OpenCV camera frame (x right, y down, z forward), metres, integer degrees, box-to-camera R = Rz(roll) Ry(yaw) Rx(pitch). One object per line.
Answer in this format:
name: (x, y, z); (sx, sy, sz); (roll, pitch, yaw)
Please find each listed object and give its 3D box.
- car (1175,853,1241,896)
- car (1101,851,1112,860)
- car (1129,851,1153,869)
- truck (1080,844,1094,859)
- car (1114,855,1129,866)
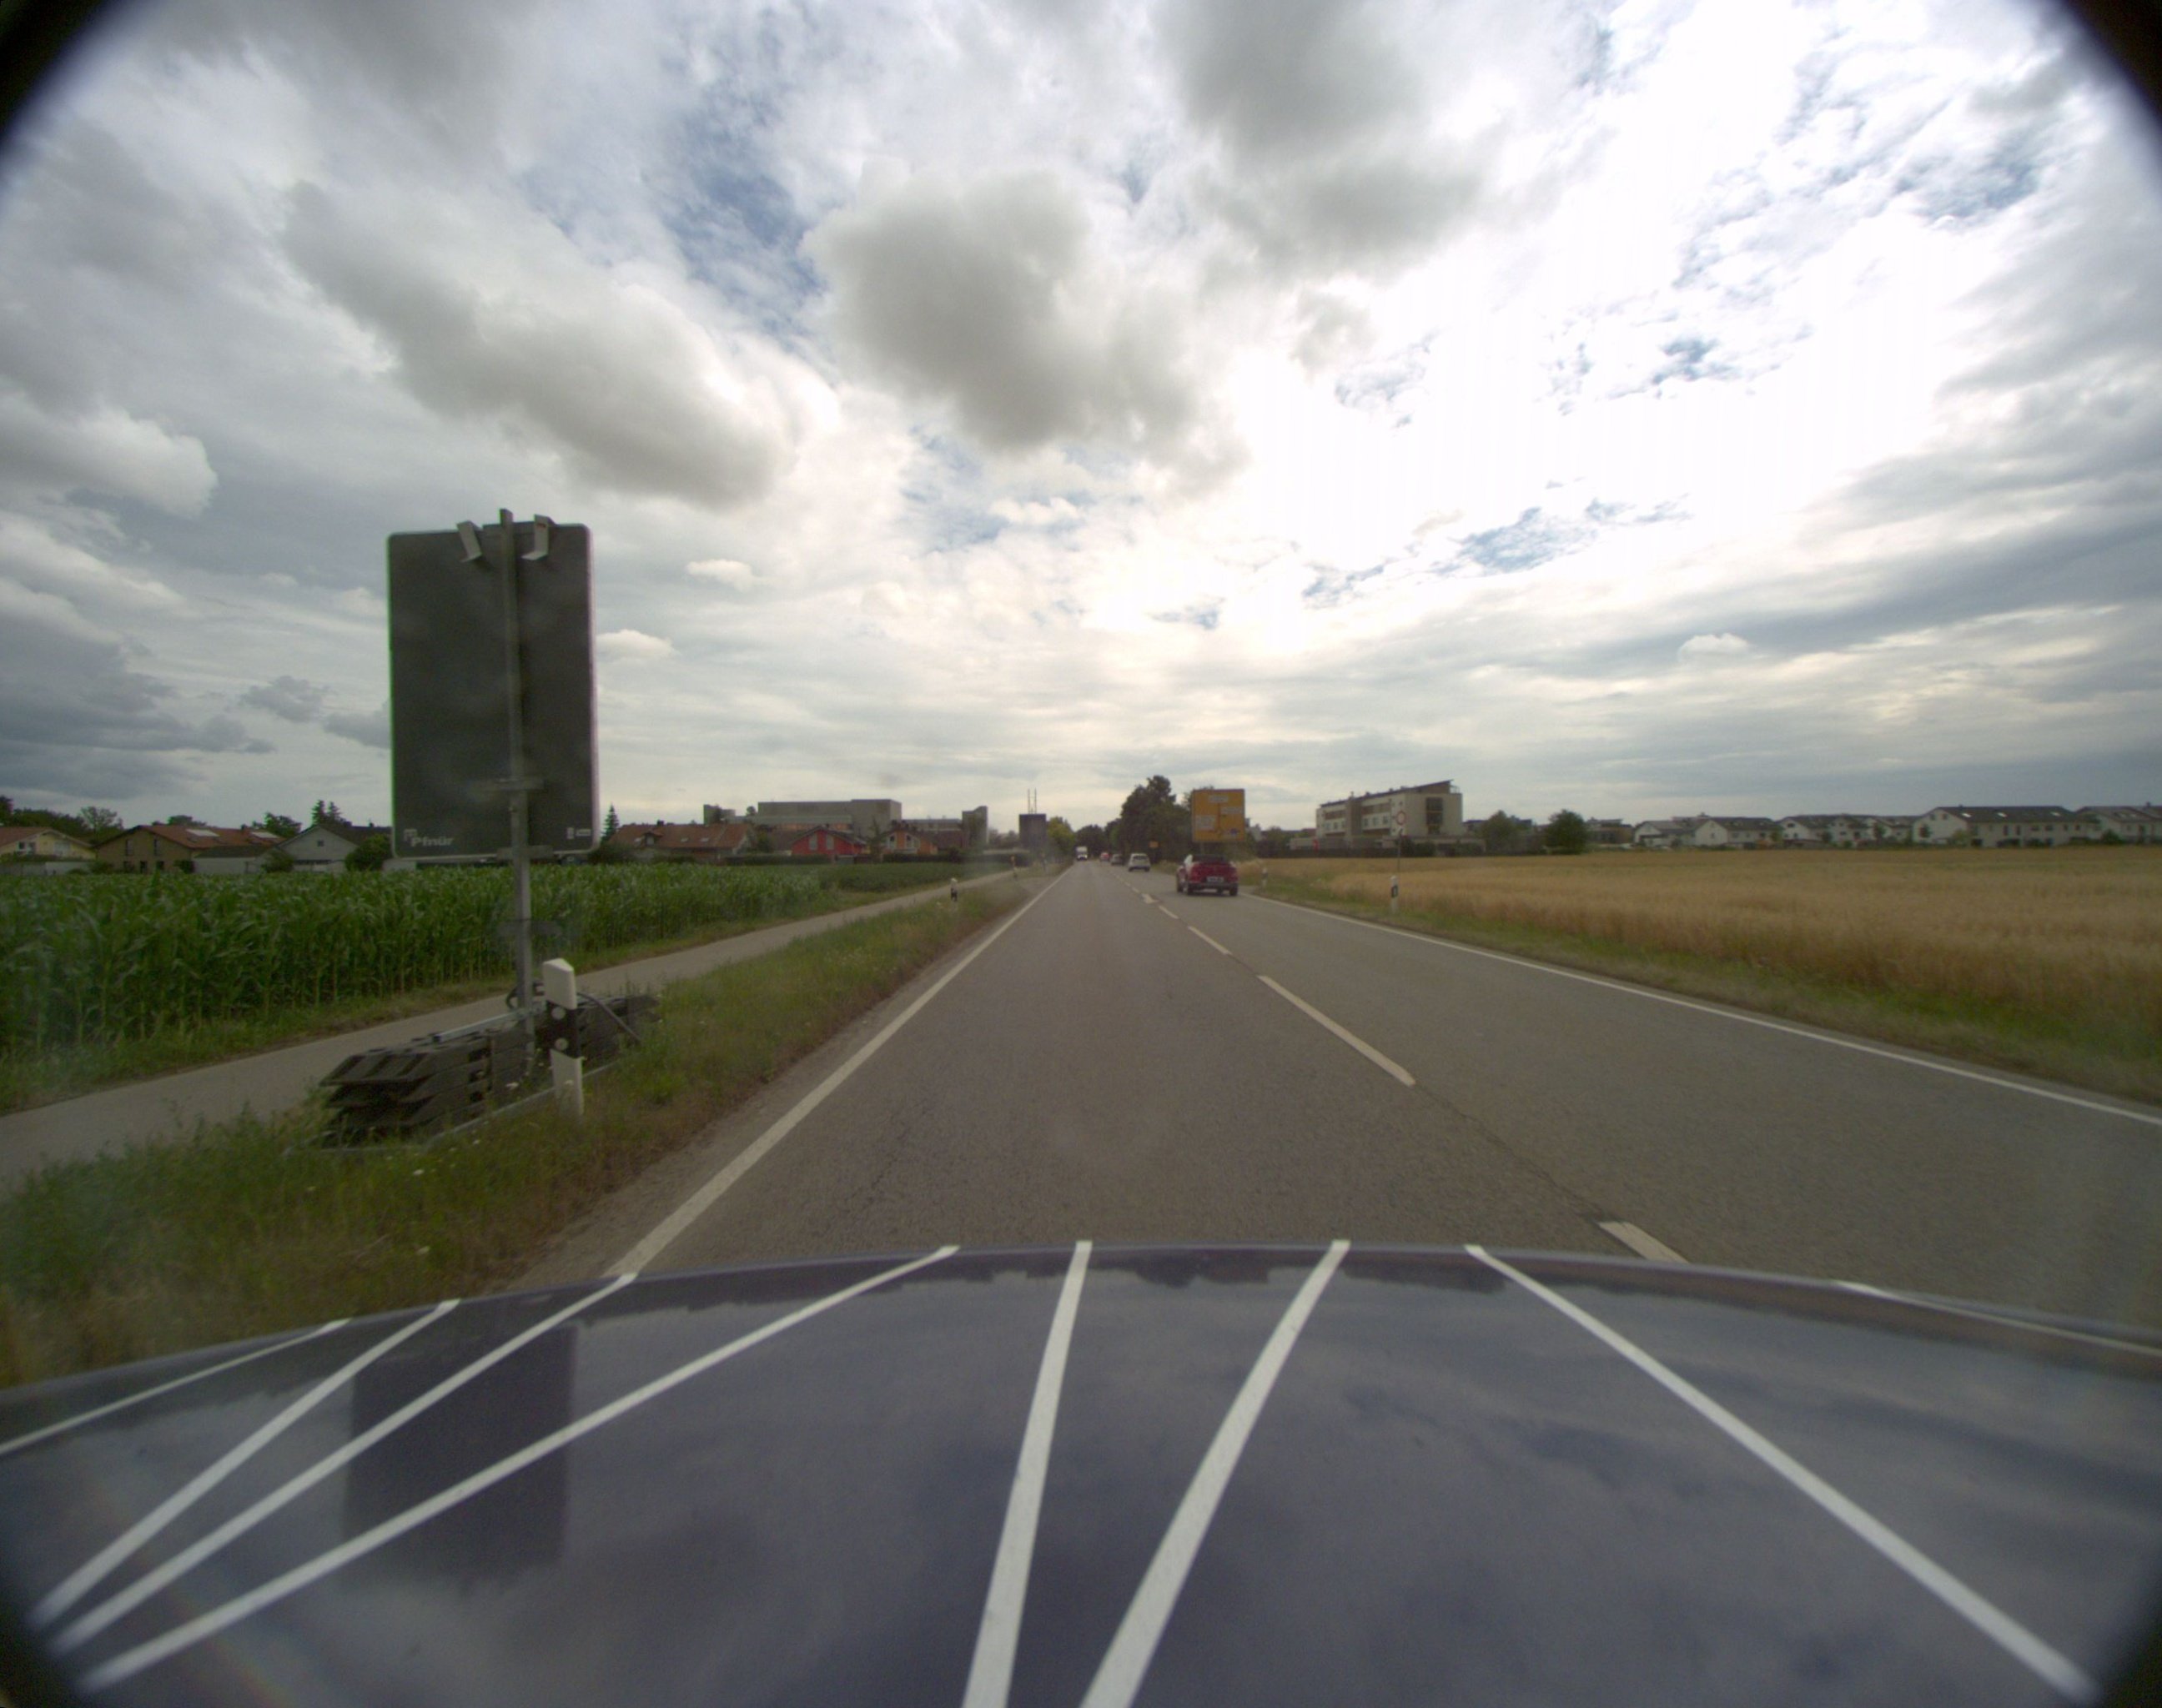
car: (4.630, 0.702, 28.282); (1.716, 1.480, 4.608); (0, 0, 1)
car: (5.060, 0.336, 151.519); (1.998, 1.674, 4.809); (1, 0, 1)
car: (5.107, 0.516, 65.194); (1.810, 1.448, 4.113); (0, 0, 1)
truck: (1.429, -0.577, 175.607); (2.613, 3.427, 7.509); (-2, 0, 4)
car: (5.301, 0.814, 100.135); (1.733, 1.355, 3.949); (0, 0, 1)
